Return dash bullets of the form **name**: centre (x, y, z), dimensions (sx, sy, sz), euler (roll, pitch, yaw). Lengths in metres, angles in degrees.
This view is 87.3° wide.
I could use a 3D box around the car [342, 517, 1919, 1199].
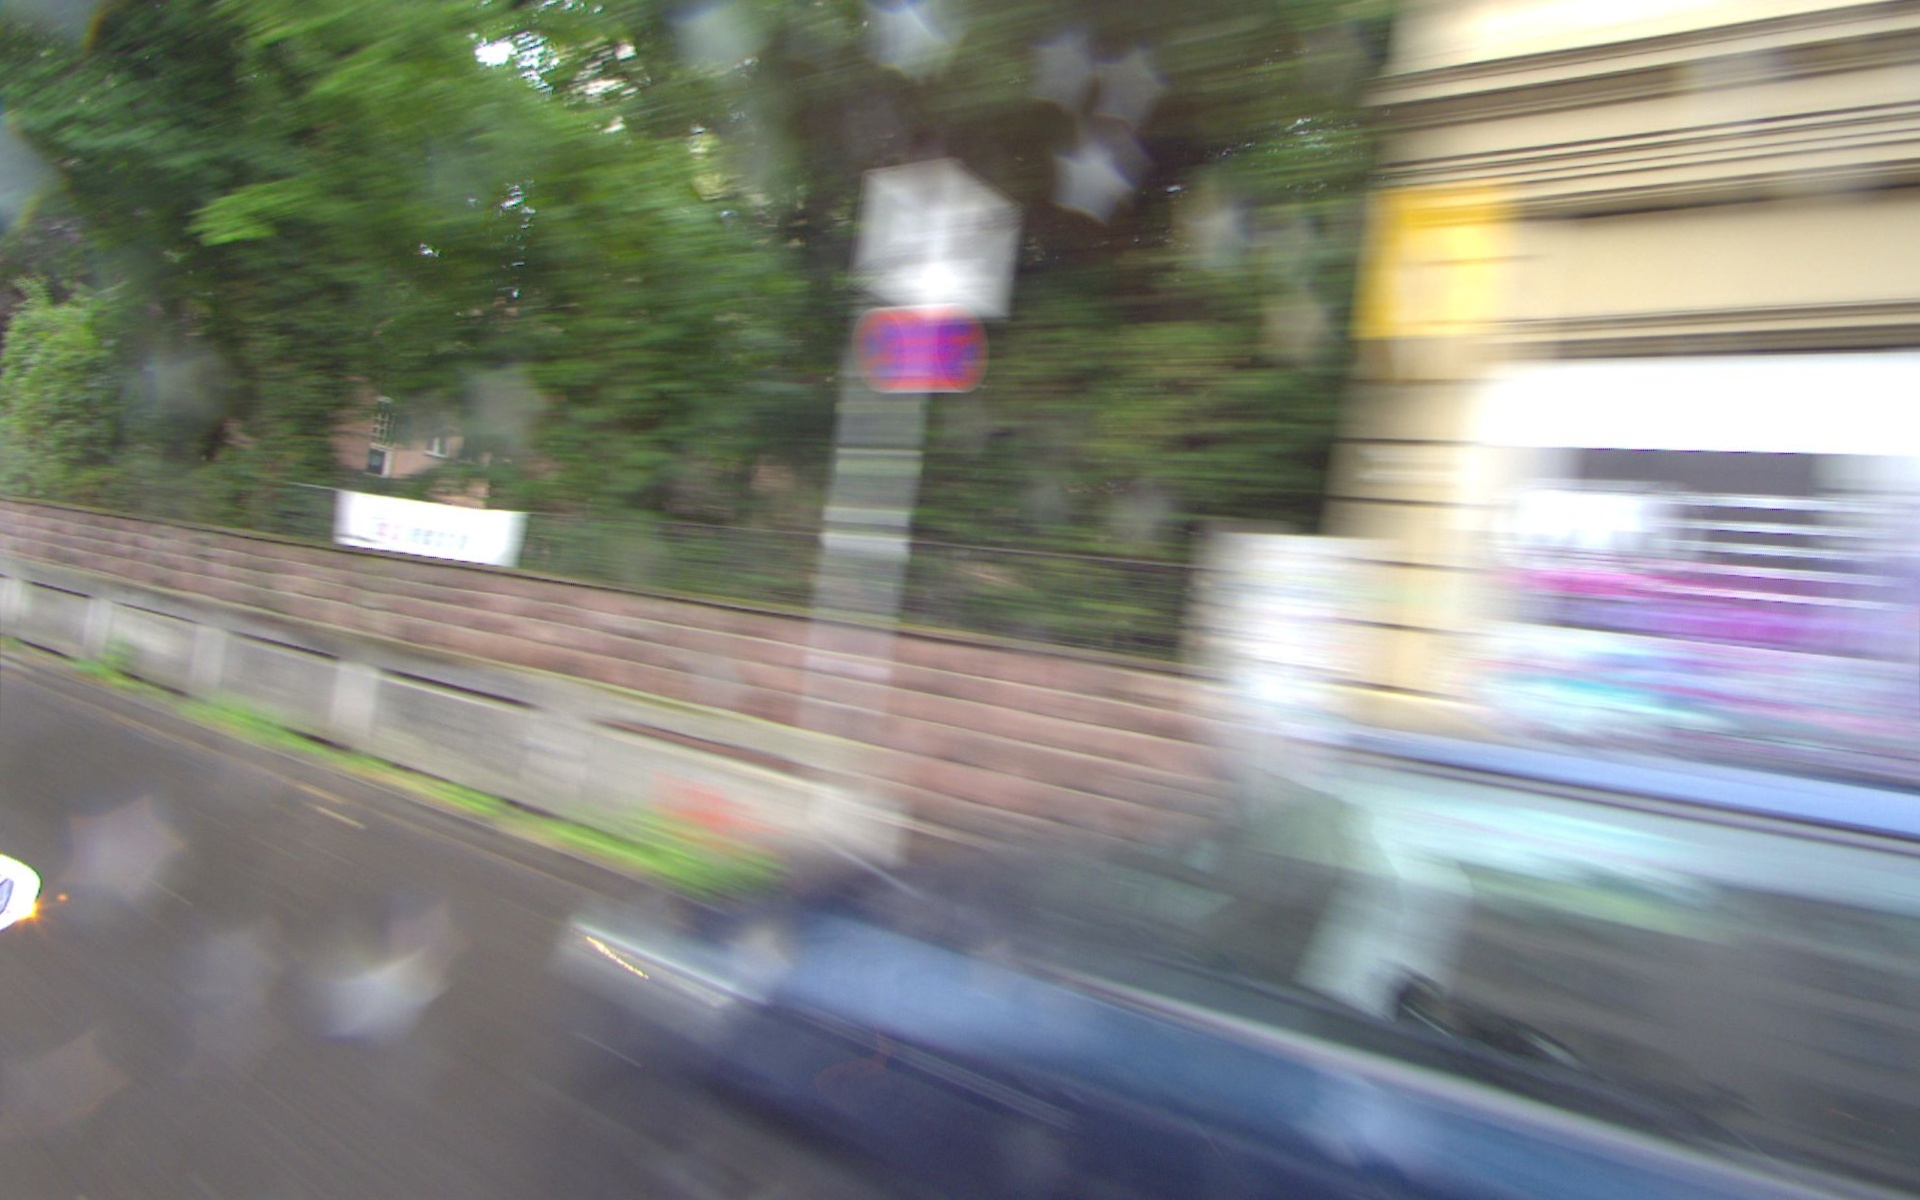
- **car**: centre (0.970, 0.898, 1.872), dimensions (4.174, 1.547, 1.788), euler (7, -3, 32)
